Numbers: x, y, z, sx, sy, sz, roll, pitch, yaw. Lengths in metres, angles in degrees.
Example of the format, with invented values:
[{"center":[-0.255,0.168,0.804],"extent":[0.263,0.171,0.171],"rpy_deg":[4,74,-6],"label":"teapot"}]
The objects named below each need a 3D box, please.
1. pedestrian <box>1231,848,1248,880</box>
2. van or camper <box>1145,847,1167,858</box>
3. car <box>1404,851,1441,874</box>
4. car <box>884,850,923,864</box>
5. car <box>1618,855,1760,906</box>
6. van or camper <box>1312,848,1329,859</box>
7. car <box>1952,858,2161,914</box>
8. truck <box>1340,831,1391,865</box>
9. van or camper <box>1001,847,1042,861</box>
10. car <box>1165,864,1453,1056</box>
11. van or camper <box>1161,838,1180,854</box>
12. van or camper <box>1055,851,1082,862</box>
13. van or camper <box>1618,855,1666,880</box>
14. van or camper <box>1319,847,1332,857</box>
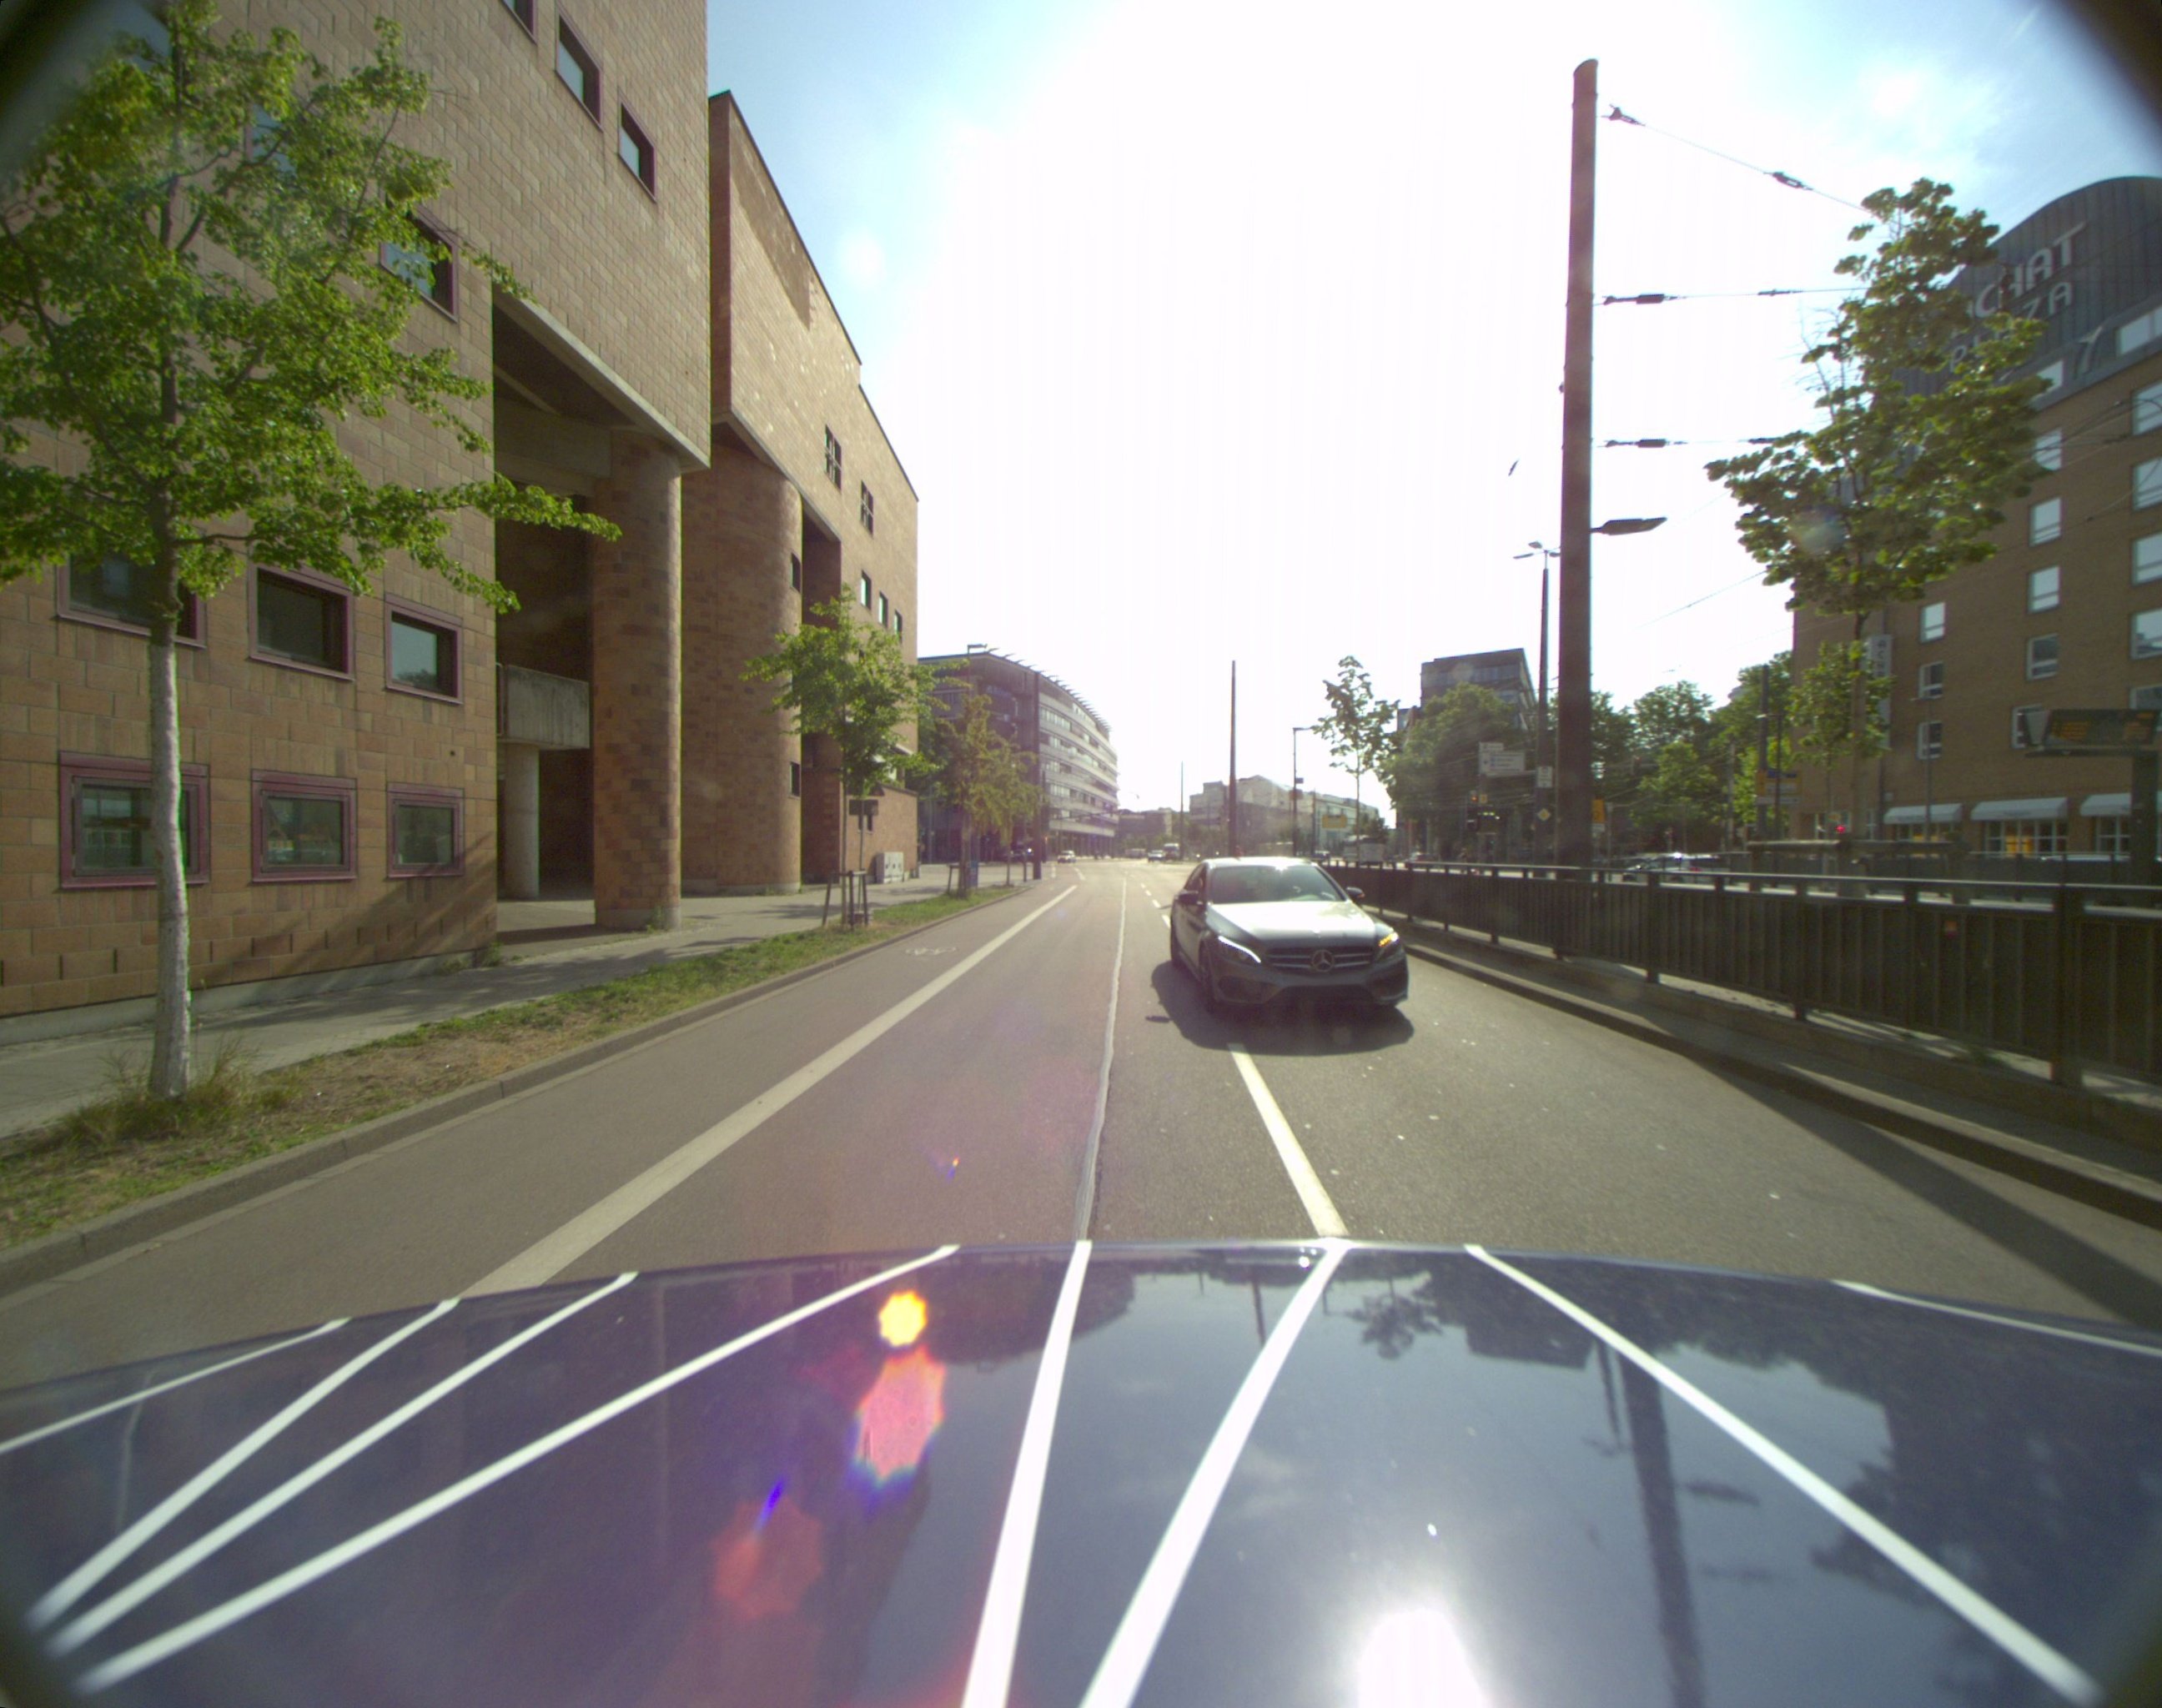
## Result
[{"center":[8.086,0.506,38.788],"extent":[0.582,1.624,0.645],"rpy_deg":[0,1,-30],"label":"pedestrian"},{"center":[9.558,-0.235,96.596],"extent":[1.931,1.305,3.991],"rpy_deg":[1,1,18],"label":"van or camper"},{"center":[31.968,0.773,71.176],"extent":[1.997,2.002,4.002],"rpy_deg":[1,1,7],"label":"car"},{"center":[-19.213,0.324,82.307],"extent":[4.002,1.521,1.997],"rpy_deg":[0,1,-14],"label":"car"},{"center":[21.517,0.886,27.135],"extent":[1.998,1.608,4.025],"rpy_deg":[1,1,4],"label":"car"},{"center":[34.710,-0.099,110.248],"extent":[1.843,1.543,4.003],"rpy_deg":[1,1,12],"label":"van or camper"},{"center":[20.402,0.603,15.439],"extent":[1.548,0.965,3.489],"rpy_deg":[1,1,5],"label":"car"},{"center":[34.526,-0.760,92.766],"extent":[3.166,3.755,12.365],"rpy_deg":[1,1,8],"label":"truck"},{"center":[-6.577,-0.014,84.499],"extent":[4.222,1.434,1.994],"rpy_deg":[0,1,-41],"label":"van or camper"},{"center":[2.030,0.869,8.103],"extent":[1.906,1.384,4.236],"rpy_deg":[-1,1,2],"label":"car"},{"center":[12.758,-1.105,108.718],"extent":[1.931,2.198,3.991],"rpy_deg":[1,1,18],"label":"van or camper"},{"center":[-1.535,0.238,94.304],"extent":[1.930,1.305,3.993],"rpy_deg":[1,1,24],"label":"van or camper"},{"center":[36.921,0.827,49.972],"extent":[1.923,1.528,4.008],"rpy_deg":[1,1,45],"label":"van or camper"},{"center":[41.885,-0.420,130.207],"extent":[1.925,1.691,4.004],"rpy_deg":[1,1,15],"label":"van or camper"}]
